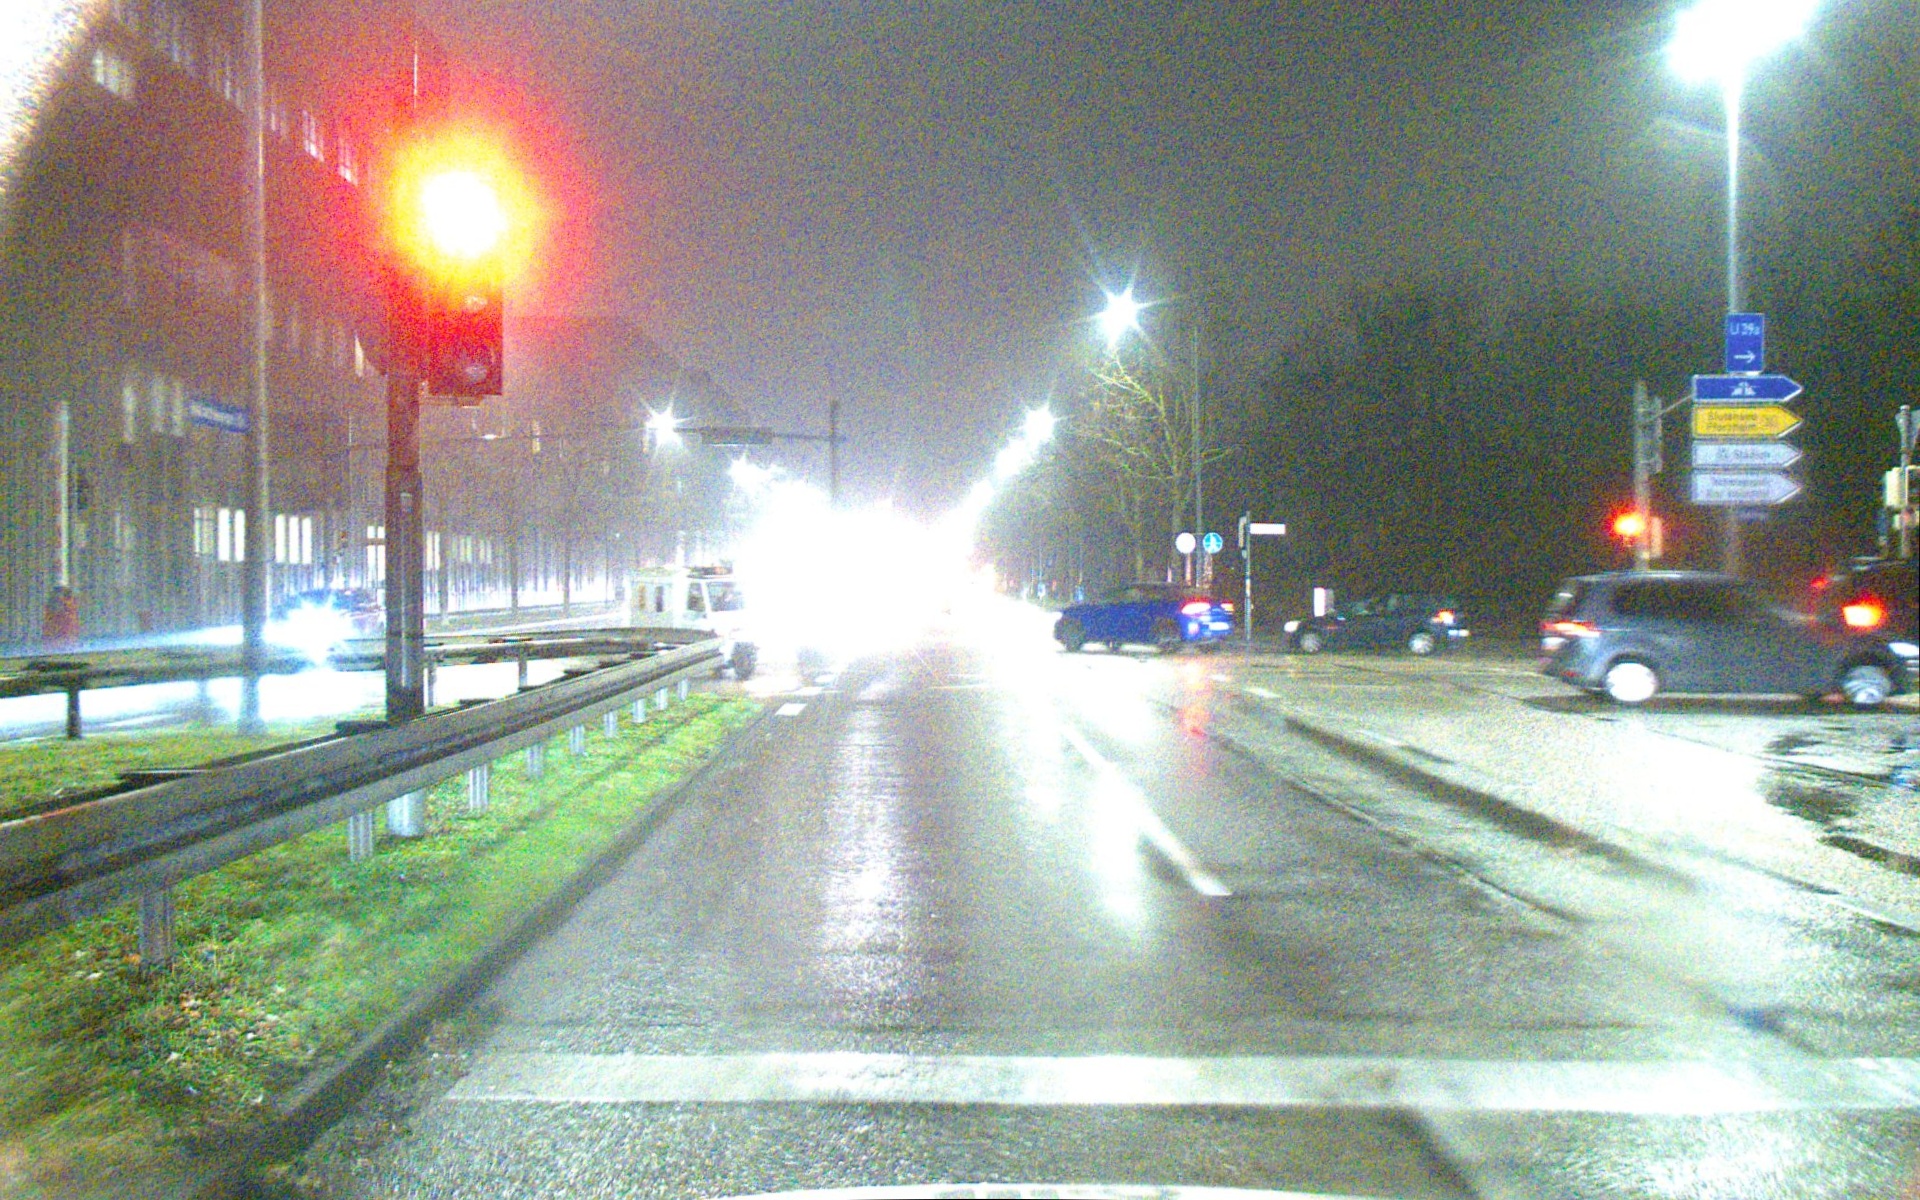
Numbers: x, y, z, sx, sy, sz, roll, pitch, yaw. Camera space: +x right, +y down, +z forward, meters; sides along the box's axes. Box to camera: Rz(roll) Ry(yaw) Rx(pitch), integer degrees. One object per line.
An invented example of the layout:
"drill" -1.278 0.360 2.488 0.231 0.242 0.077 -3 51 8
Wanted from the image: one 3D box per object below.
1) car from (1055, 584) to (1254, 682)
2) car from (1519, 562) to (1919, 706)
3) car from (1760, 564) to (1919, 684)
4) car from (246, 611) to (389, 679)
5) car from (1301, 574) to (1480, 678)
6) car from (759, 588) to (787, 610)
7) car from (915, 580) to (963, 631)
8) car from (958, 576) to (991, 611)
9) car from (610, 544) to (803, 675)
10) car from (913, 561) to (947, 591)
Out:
"car" 4.251 0.691 36.352 3.924 2.049 1.990 0 -1 39
"car" 9.501 0.406 20.936 4.308 1.702 1.960 0 -1 8
"car" 14.121 0.342 23.712 4.404 1.646 1.909 0 -1 5
"car" -14.748 0.996 38.184 1.787 1.490 3.999 0 0 -1
"car" 9.777 0.565 37.510 3.560 2.253 2.213 0 -1 27
"car" -15.046 -0.081 133.564 1.714 1.738 4.498 -1 0 0
"car" -0.876 0.231 71.018 1.996 2.119 4.306 0 0 0
"car" 0.898 -0.376 100.930 1.996 2.049 4.307 0 0 1
"car" -4.275 0.158 27.598 1.687 2.049 3.518 1 -1 -38
"car" -2.361 -1.818 128.495 2.393 2.232 5.075 0 0 -4
